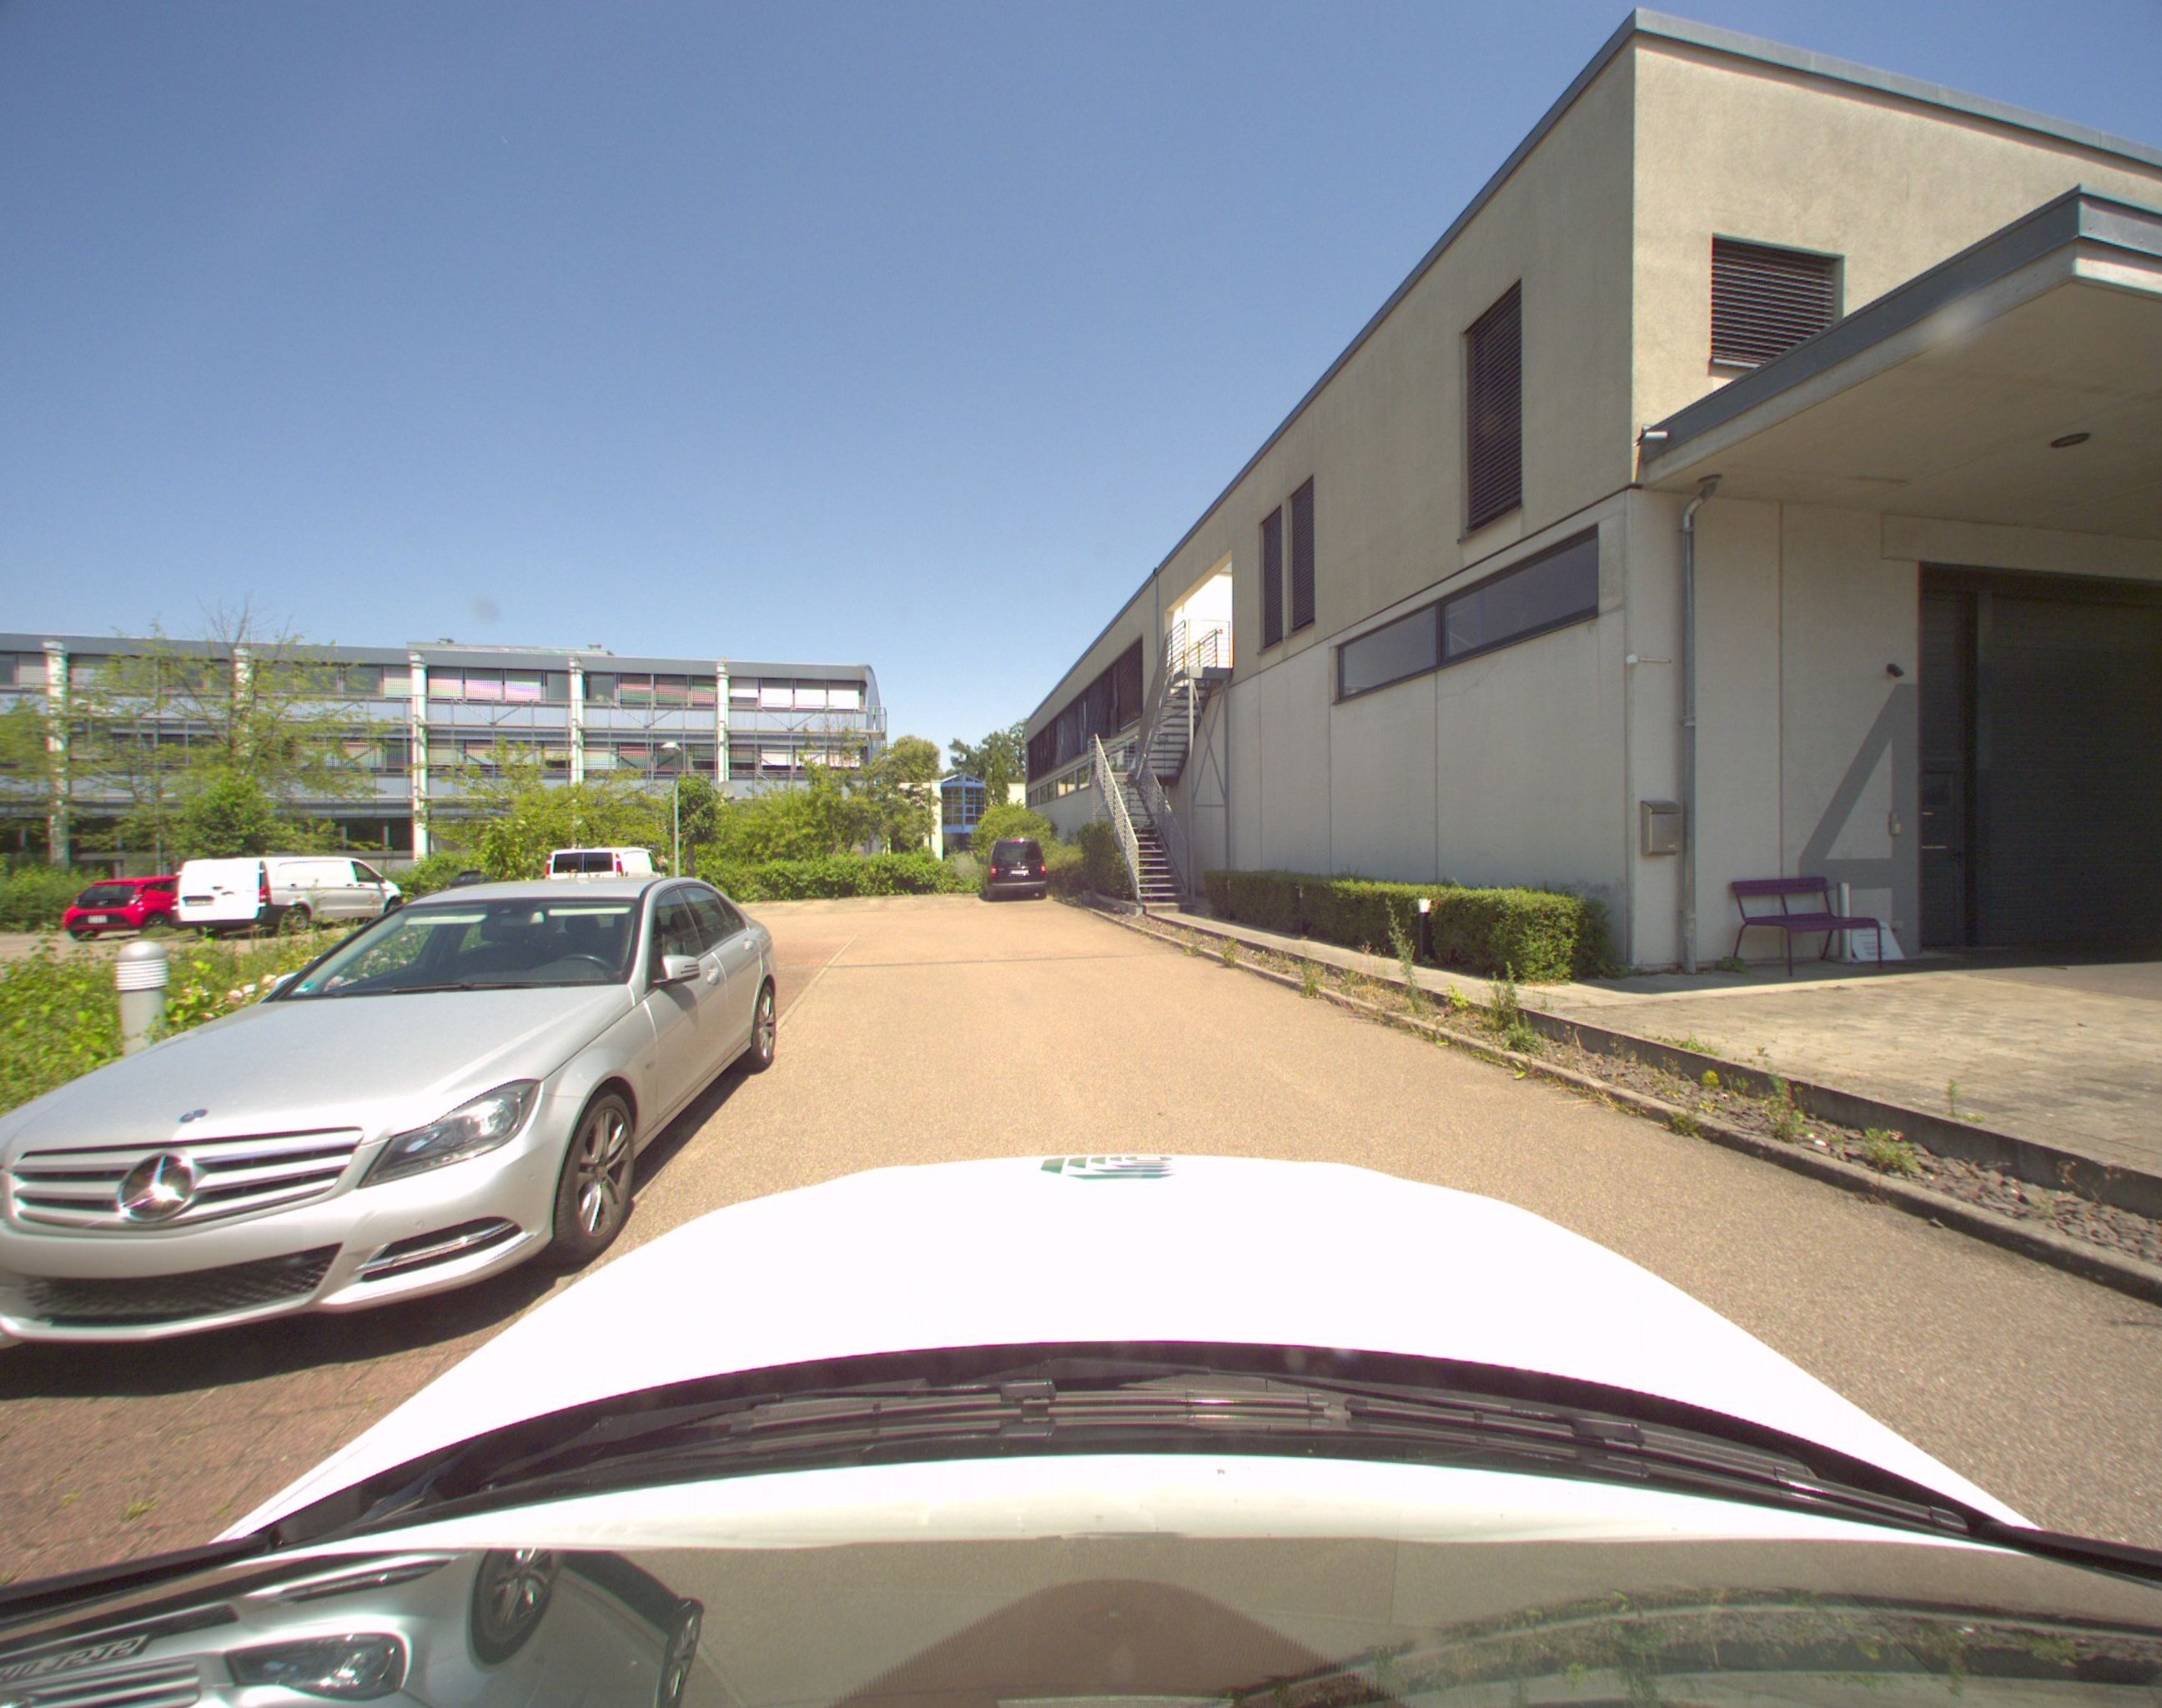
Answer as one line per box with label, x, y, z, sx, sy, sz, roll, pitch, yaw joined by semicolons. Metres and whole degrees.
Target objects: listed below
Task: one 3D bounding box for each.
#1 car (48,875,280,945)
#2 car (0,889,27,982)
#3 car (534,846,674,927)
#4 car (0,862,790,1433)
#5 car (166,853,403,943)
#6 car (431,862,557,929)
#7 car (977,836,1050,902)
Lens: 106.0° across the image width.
car;-23.366;1.351;21.020;1.782;1.441;3.987;-2;1;-9
car;-17.878;1.357;11.060;1.858;1.472;4.465;-2;1;-12
car;-12.933;0.764;22.465;1.915;1.905;4.787;-2;1;-13
car;-2.886;0.819;4.294;1.728;1.457;4.135;-2;0;-9
car;-19.972;0.983;20.805;1.882;1.891;4.787;-1;1;-10
car;-15.842;1.044;22.202;1.761;1.476;3.972;-2;1;-21
car;-2.194;0.425;25.476;1.744;1.837;3.984;-2;1;-12
